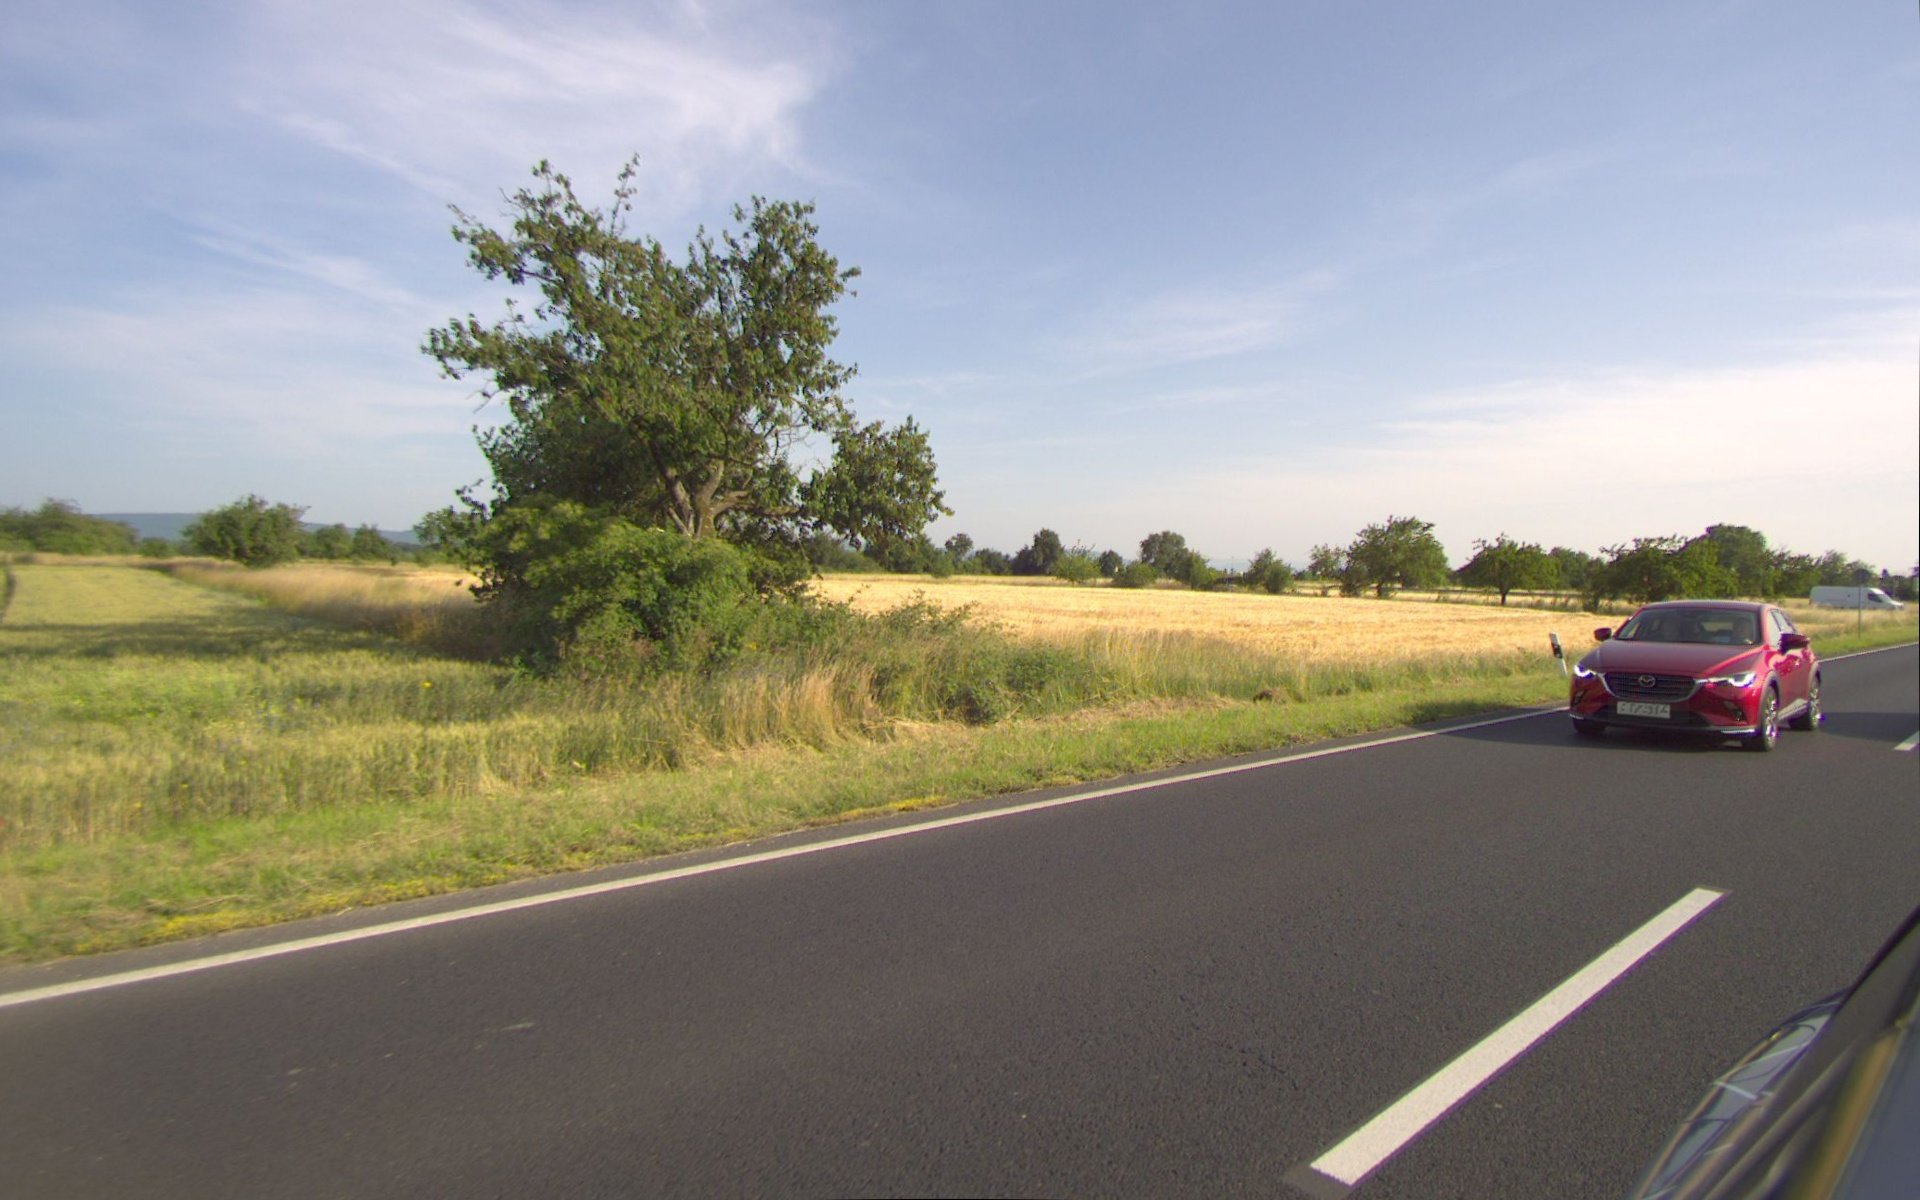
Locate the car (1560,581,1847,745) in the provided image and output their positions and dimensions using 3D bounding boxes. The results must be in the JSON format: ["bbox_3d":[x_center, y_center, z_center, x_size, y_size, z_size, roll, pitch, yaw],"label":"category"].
[{"bbox_3d":[8.628,0.562,11.592,4.422,1.524,1.707,-1,1,-41],"label":"car"}]

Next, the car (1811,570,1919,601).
[{"bbox_3d":[84.388,-1.406,94.567,2.049,2.702,7.230,-1,2,-26],"label":"car"}]
